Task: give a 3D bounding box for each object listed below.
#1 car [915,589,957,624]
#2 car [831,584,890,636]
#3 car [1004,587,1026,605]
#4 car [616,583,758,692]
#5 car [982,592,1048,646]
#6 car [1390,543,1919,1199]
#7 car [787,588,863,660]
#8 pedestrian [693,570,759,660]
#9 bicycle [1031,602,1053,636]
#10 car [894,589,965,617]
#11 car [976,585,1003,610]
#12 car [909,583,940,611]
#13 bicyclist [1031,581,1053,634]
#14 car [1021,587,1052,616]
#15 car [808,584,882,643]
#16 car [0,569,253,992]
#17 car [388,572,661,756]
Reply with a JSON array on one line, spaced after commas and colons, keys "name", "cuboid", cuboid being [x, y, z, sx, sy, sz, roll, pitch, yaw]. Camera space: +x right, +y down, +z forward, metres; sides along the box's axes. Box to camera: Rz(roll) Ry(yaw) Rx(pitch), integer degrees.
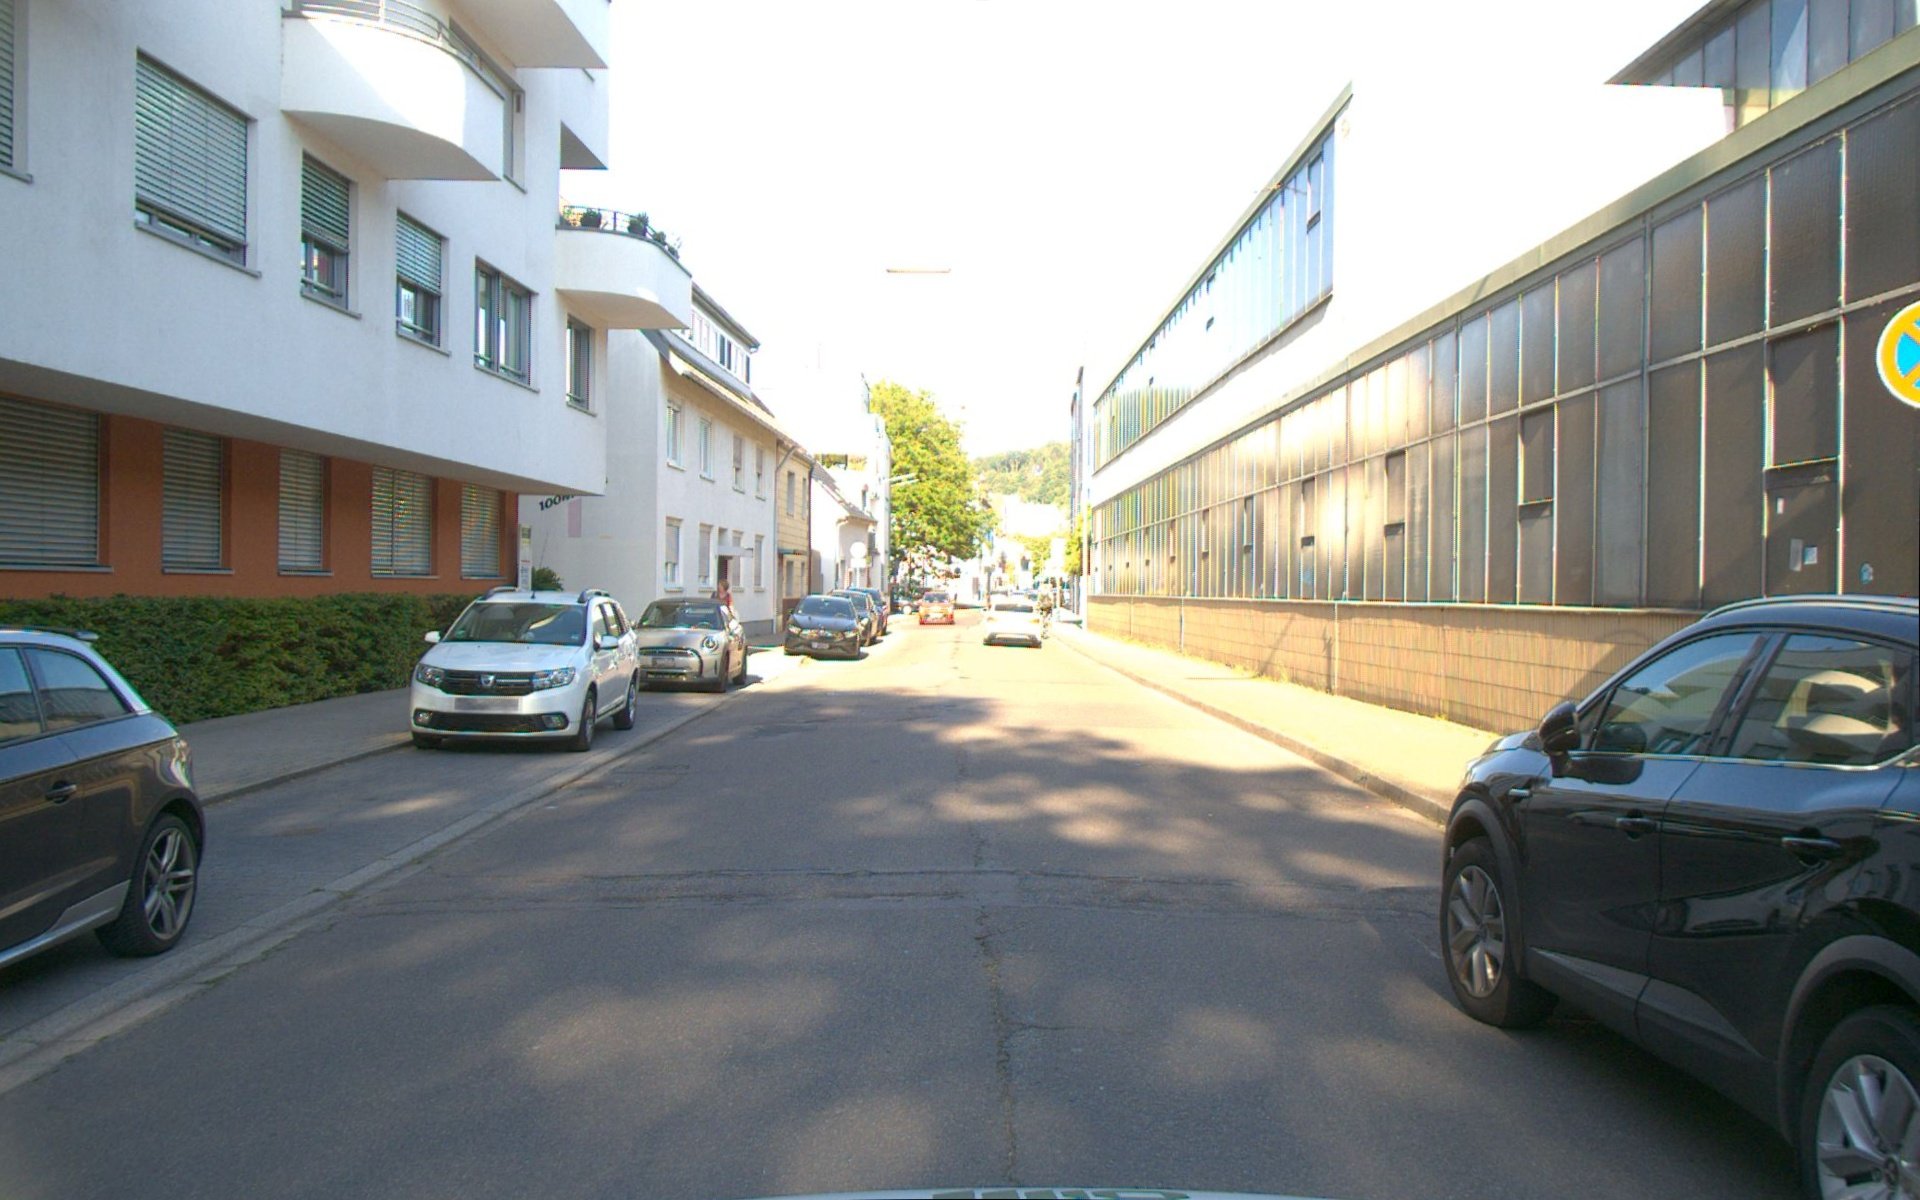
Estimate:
[{"name": "car", "cuboid": [-1.071, 0.289, 75.031, 1.804, 1.517, 4.144, 2, 0, 0]}, {"name": "car", "cuboid": [-3.499, 0.336, 58.859, 1.772, 1.614, 4.193, 3, 2, 0]}, {"name": "car", "cuboid": [4.938, -0.356, 147.611, 1.803, 1.517, 4.146, 2, 0, 4]}, {"name": "car", "cuboid": [-4.366, 0.579, 26.968, 1.634, 1.562, 3.856, 3, 0, -1]}, {"name": "car", "cuboid": [1.620, 0.554, 50.347, 1.804, 1.517, 4.143, 2, 0, 0]}, {"name": "car", "cuboid": [2.859, 0.734, 5.022, 1.771, 1.614, 4.403, 3, 0, -2]}, {"name": "car", "cuboid": [-3.226, 0.552, 40.035, 1.651, 1.562, 4.332, 3, 0, -3]}, {"name": "pedestrian", "cuboid": [-5.080, 0.329, 35.947, 0.844, 1.850, 1.131, 5, 1, 24]}, {"name": "bicycle", "cuboid": [2.866, 0.671, 58.199, 0.684, 1.150, 2.403, 2, 0, 2]}, {"name": "car", "cuboid": [-1.845, 0.183, 100.334, 4.043, 1.517, 1.849, 2, 0, 7]}, {"name": "car", "cuboid": [2.270, -0.182, 126.643, 1.815, 1.822, 4.606, 2, 0, -1]}, {"name": "car", "cuboid": [-2.450, -0.210, 114.007, 1.814, 1.822, 4.608, 2, 0, 2]}, {"name": "bicyclist", "cuboid": [2.875, 0.250, 58.154, 0.684, 1.821, 1.041, 2, 0, 2]}, {"name": "car", "cuboid": [4.451, 0.104, 96.792, 1.596, 1.615, 4.069, -2, 0, 0]}, {"name": "car", "cuboid": [-3.456, 0.377, 50.451, 1.819, 1.614, 4.337, 3, 1, 1]}, {"name": "car", "cuboid": [-4.127, 0.595, 5.824, 1.641, 1.458, 3.769, 3, 0, -1]}, {"name": "car", "cuboid": [-4.447, 0.599, 17.641, 1.821, 1.614, 4.619, 3, 0, -3]}]
